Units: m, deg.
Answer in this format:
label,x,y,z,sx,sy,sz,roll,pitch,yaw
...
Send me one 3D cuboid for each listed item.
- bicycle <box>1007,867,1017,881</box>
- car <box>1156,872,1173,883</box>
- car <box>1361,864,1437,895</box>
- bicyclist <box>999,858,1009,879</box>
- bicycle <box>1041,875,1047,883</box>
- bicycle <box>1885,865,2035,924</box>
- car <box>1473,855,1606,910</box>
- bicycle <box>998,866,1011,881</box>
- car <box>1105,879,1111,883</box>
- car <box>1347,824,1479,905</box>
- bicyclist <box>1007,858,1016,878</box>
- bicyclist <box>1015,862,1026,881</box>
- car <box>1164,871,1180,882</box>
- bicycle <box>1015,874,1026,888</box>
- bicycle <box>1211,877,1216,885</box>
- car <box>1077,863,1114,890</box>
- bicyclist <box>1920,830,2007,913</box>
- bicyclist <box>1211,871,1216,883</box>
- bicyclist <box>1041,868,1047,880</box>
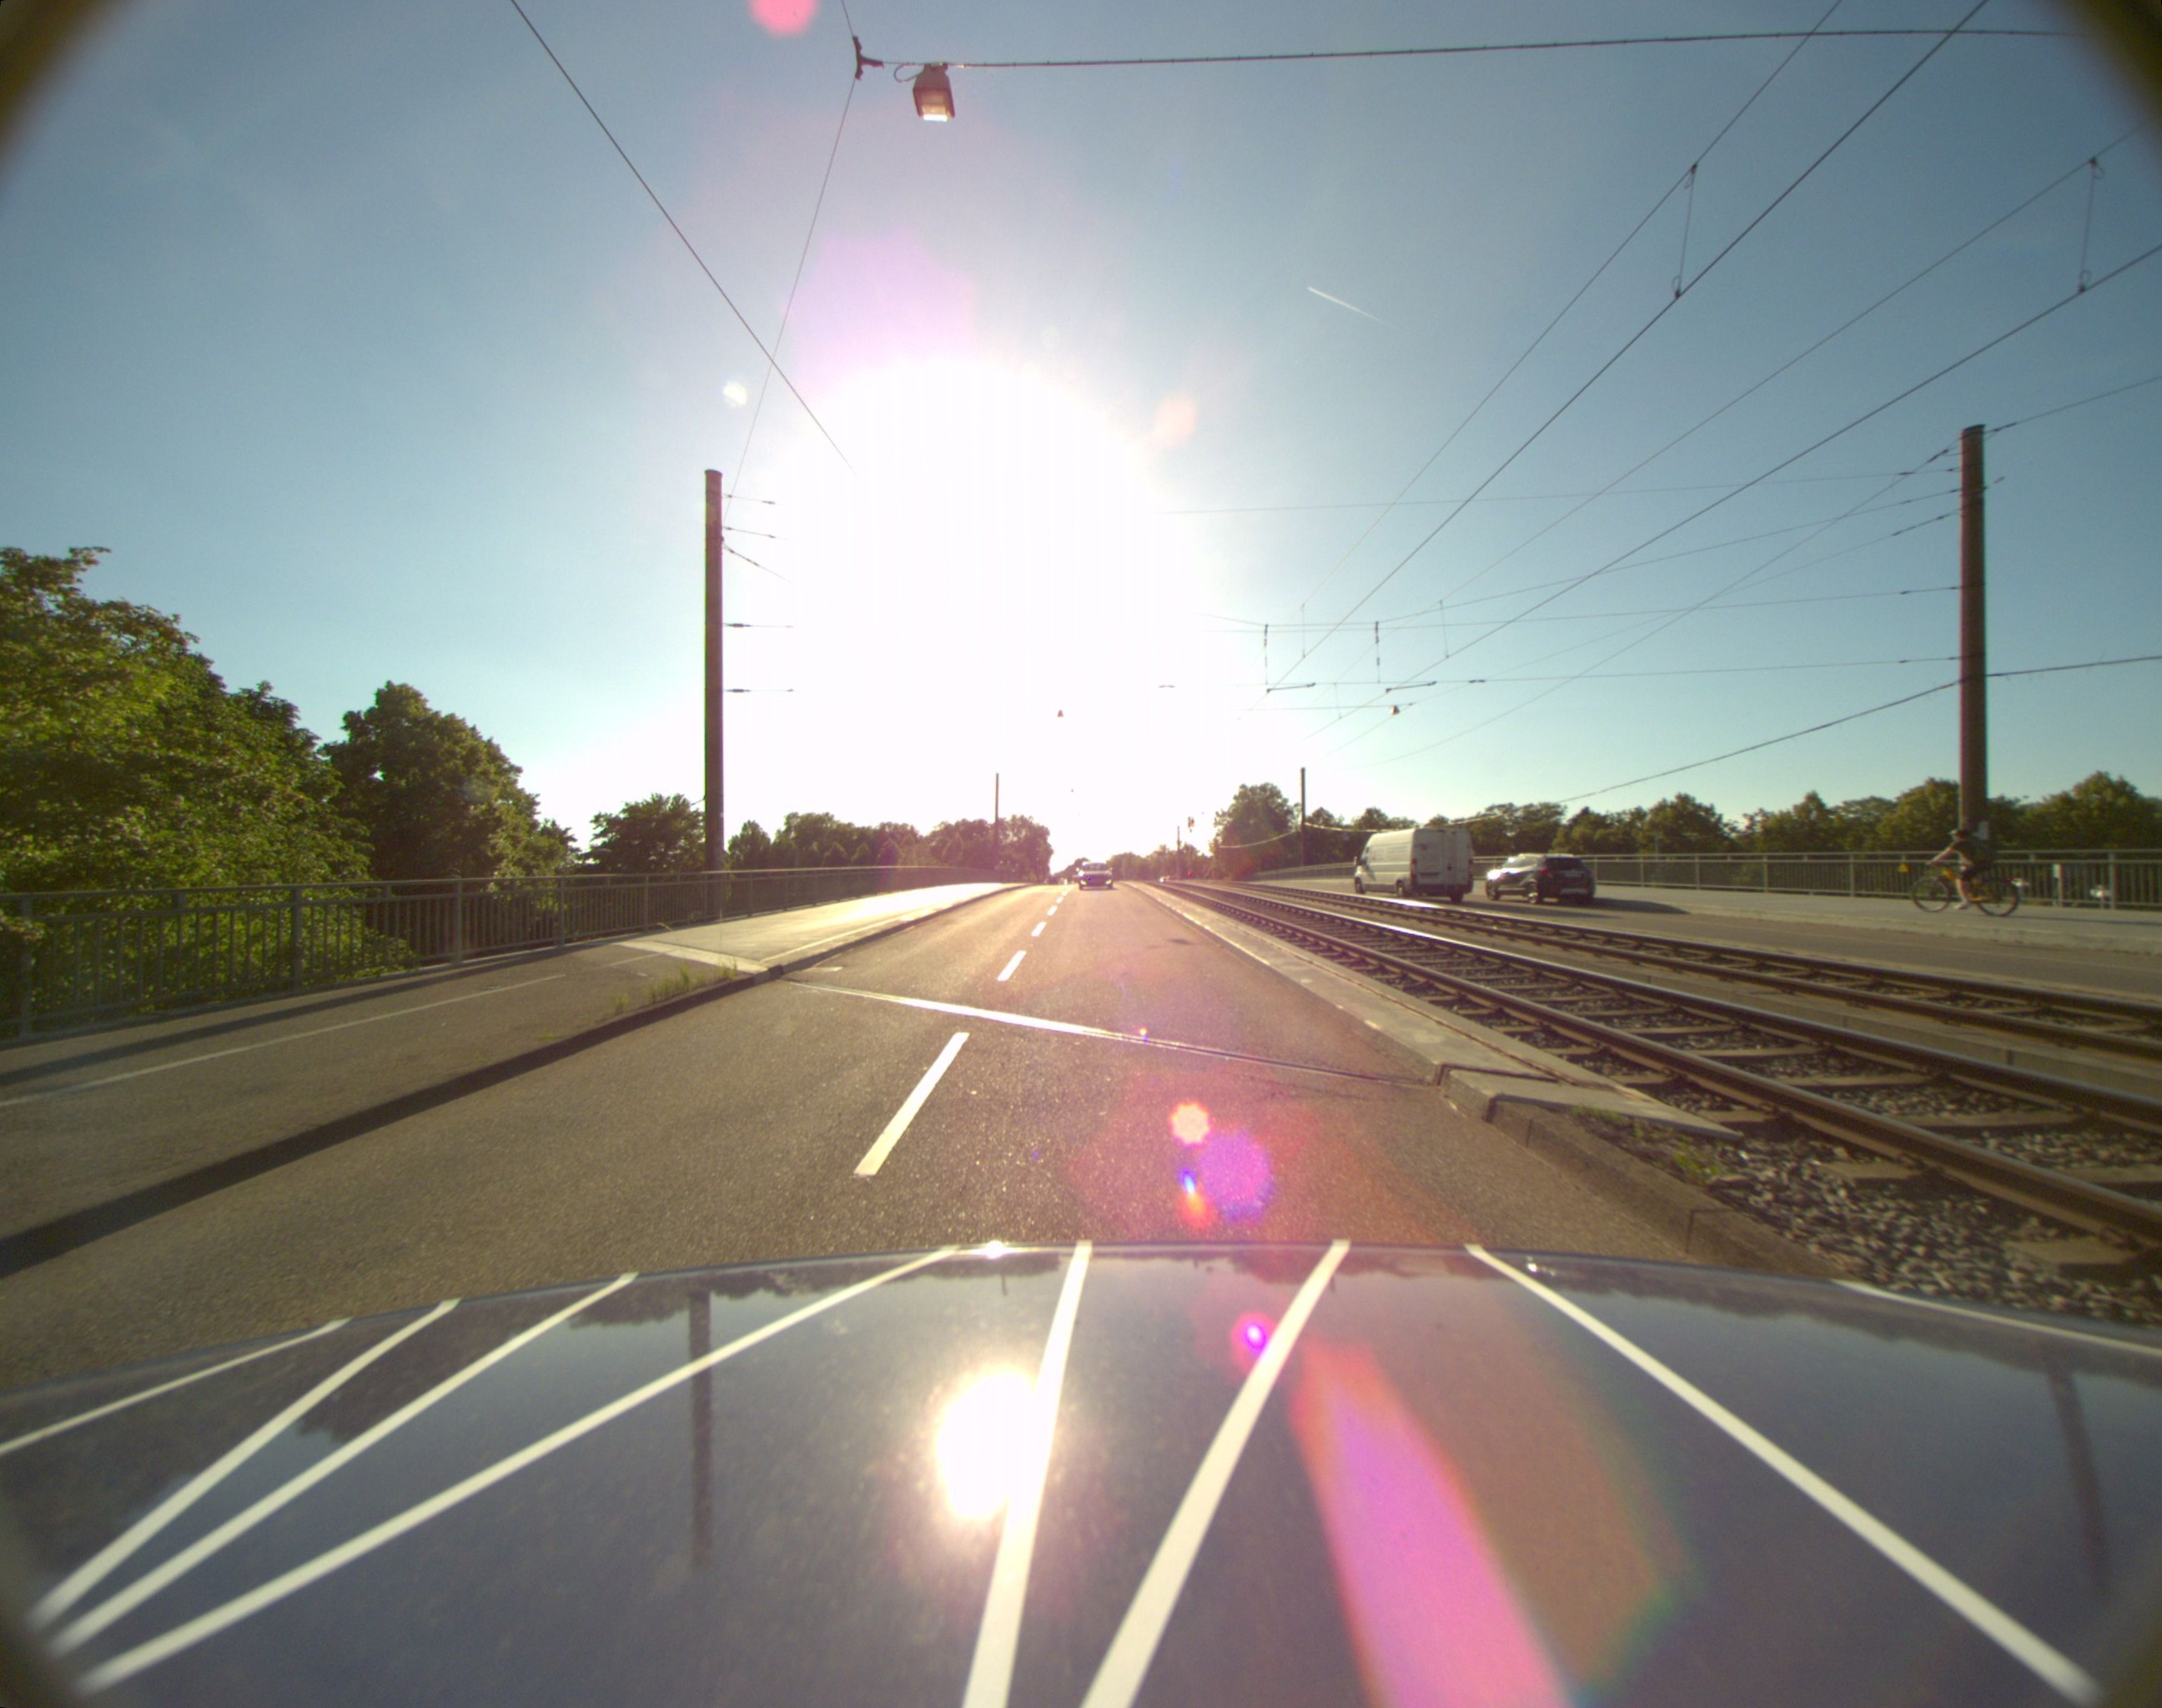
label,x,y,z,sx,sy,sz,roll,pitch,yaw
bicycle,-5.520,1.601,60.844,0.626,1.115,2.042,-1,-2,0
car,12.795,3.600,116.616,2.006,1.627,5.092,-1,-2,1
car,15.413,1.186,37.137,1.688,1.348,4.920,1,0,1
bicyclist,-5.730,1.087,56.608,0.626,1.499,1.006,-2,-2,3
bicycle,-5.105,3.493,105.375,0.733,1.115,2.742,-4,-2,-3
bicycle,18.168,0.799,15.794,0.681,1.091,2.100,-3,0,1
car,15.247,0.910,25.583,1.784,1.640,4.447,1,-1,1
bicycle,-5.709,1.451,56.639,0.626,1.115,2.261,-2,-2,3
car,9.010,8.946,253.021,1.853,1.493,4.220,-1,-2,1
car,11.726,0.376,27.469,2.092,2.577,6.041,-1,-1,0
bicyclist,-5.569,1.142,60.837,0.626,1.582,0.931,-1,-1,0
bicyclist,-5.213,1.512,65.242,0.814,1.552,0.897,-1,-3,0
car,12.677,3.155,106.013,1.812,1.510,4.002,1,-2,1
bicycle,-5.203,2.319,65.189,0.685,1.115,2.217,-1,-3,0
bicycle,18.923,3.821,108.501,0.626,1.115,2.261,-2,-2,5
car,0.711,1.173,39.172,1.801,1.344,4.001,0,-2,0
bicyclist,18.144,0.359,15.641,0.681,1.617,0.890,-3,0,1
bicyclist,18.913,3.252,108.508,0.626,1.623,0.936,-2,-1,5
bicyclist,-5.163,2.807,105.418,0.733,1.679,1.202,-4,-2,-3
